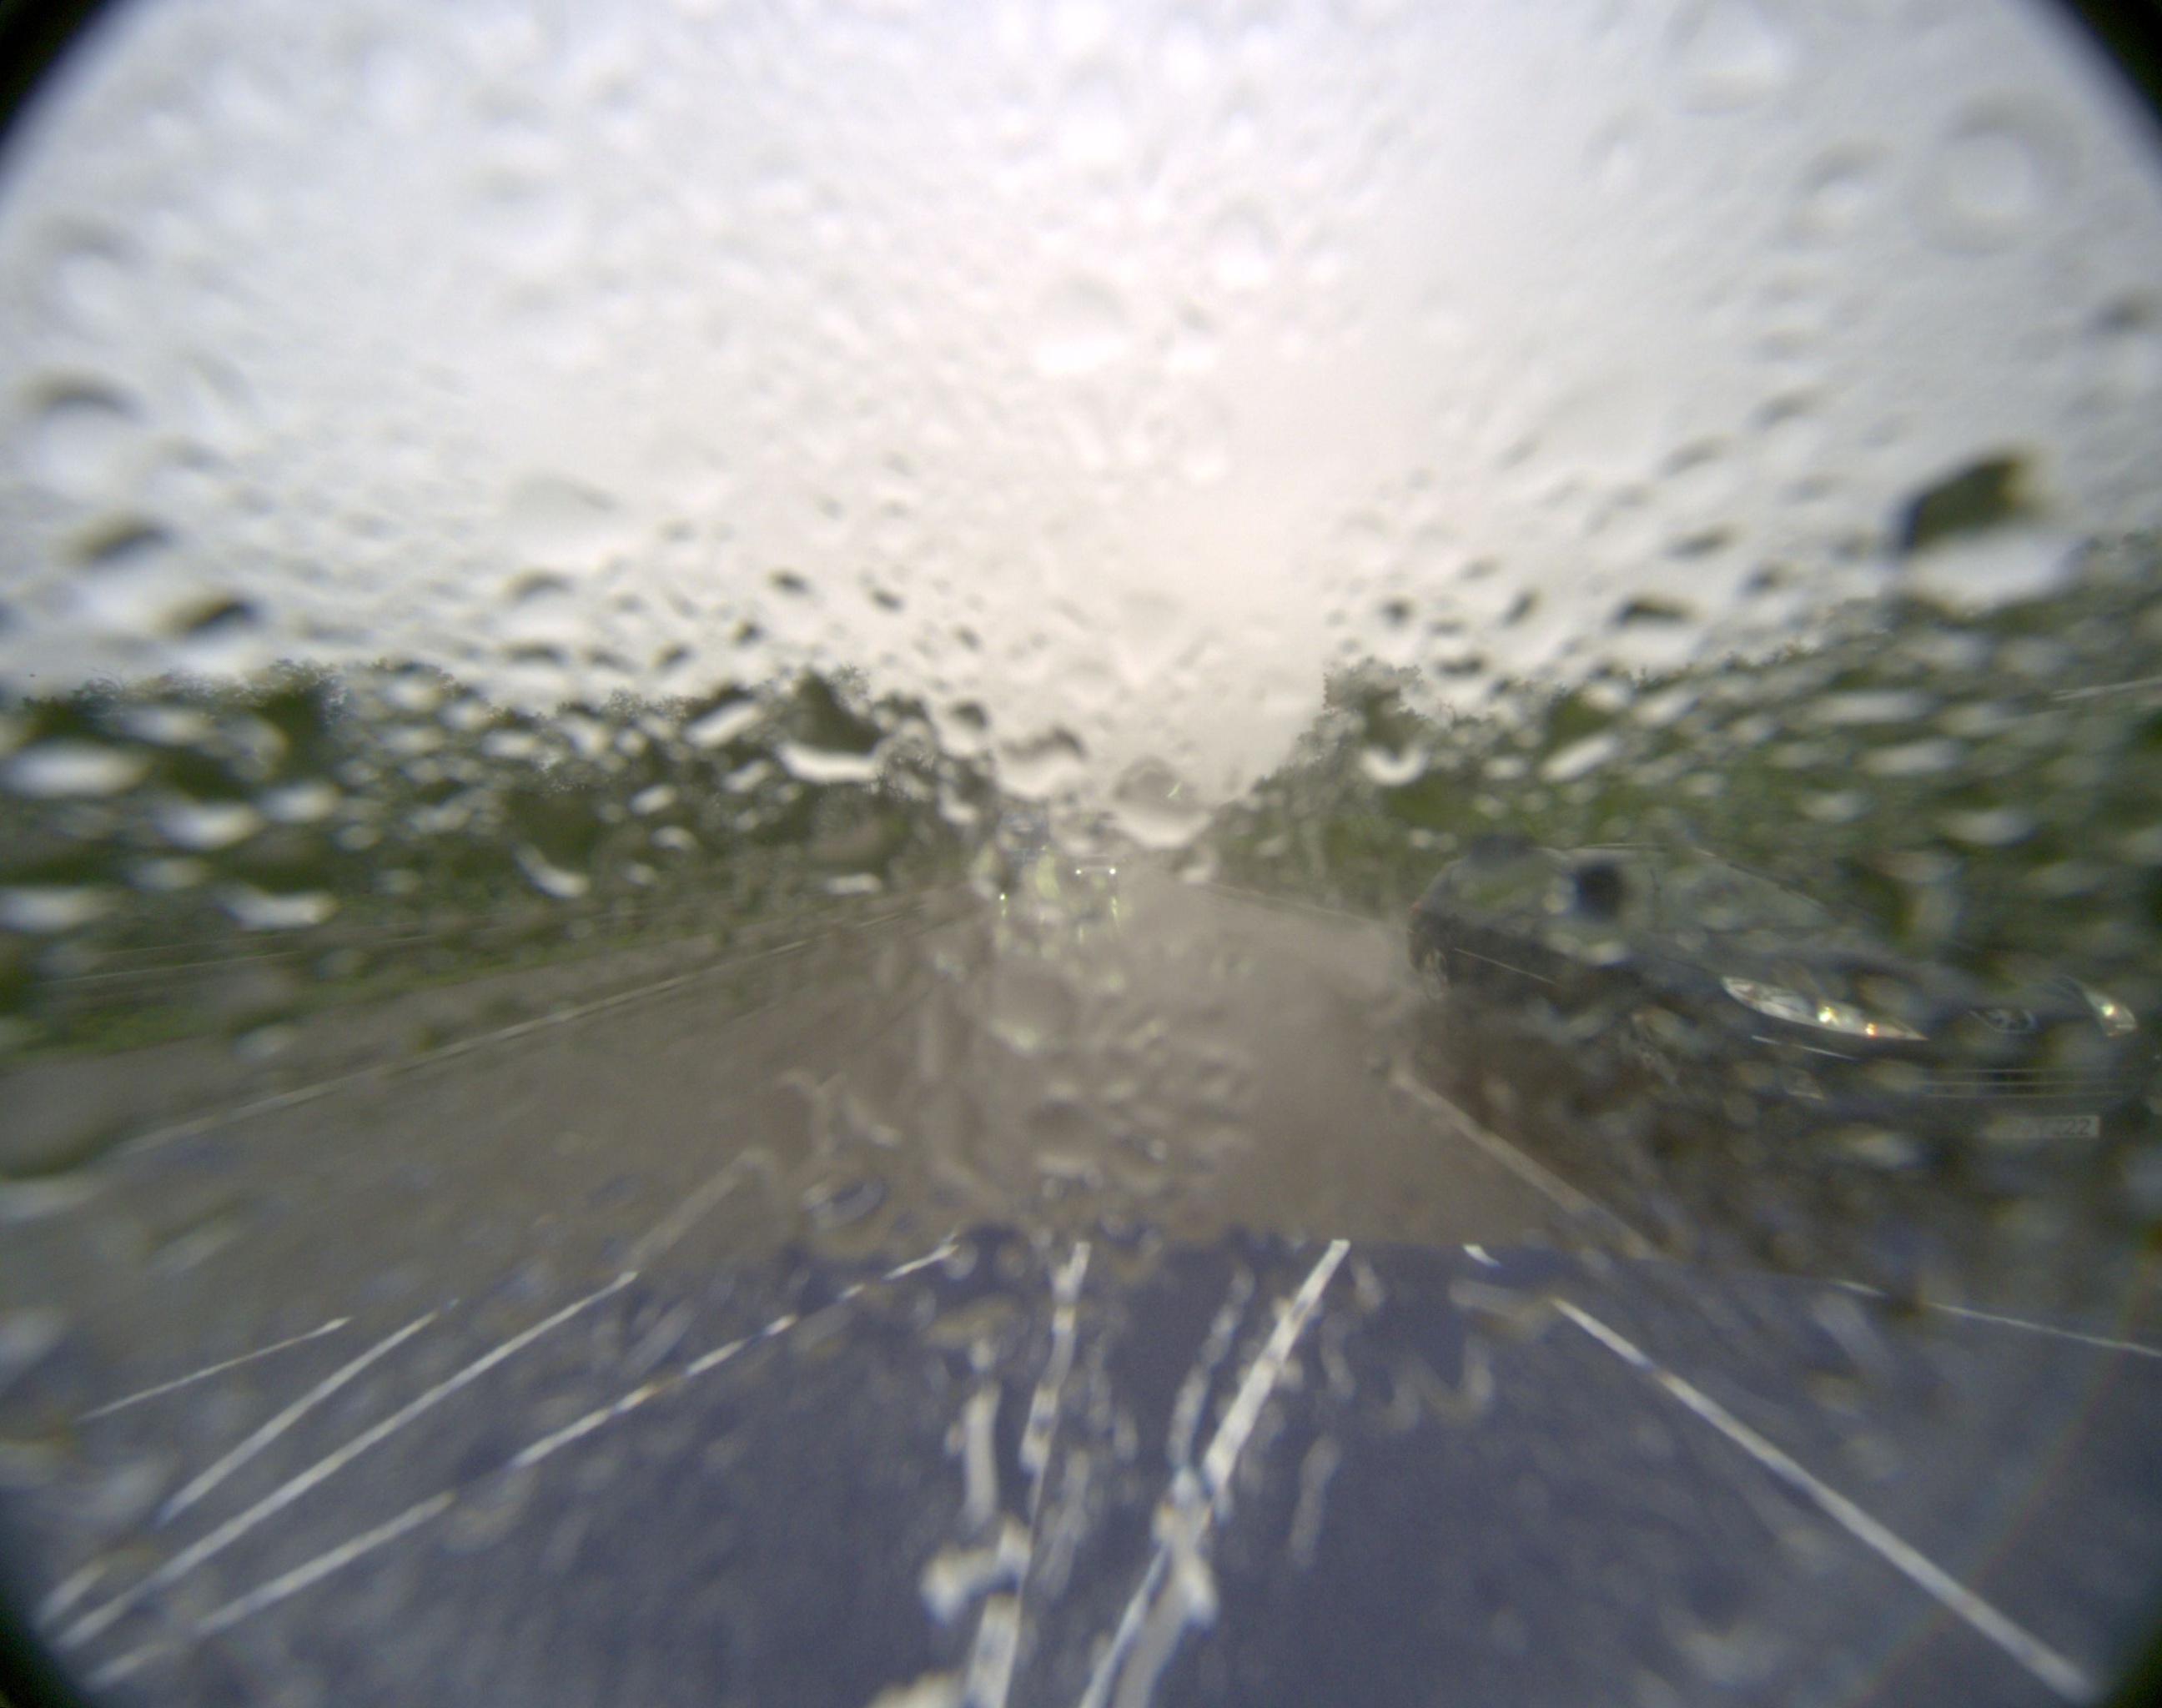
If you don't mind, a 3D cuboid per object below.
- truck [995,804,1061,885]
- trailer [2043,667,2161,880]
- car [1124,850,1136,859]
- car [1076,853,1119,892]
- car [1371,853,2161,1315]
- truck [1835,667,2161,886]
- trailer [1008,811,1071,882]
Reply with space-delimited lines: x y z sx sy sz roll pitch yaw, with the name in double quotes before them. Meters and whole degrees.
"truck" -2.786 -0.493 42.011 2.755 4.055 6.483 -2 1 3
"trailer" 21.205 -1.466 8.855 3.206 3.855 13.255 -2 1 0
"car" 8.533 0.065 133.112 1.900 1.533 4.090 -2 0 2
"car" 0.780 0.776 33.785 1.751 1.545 4.090 -2 0 3
"car" 4.007 0.791 5.189 2.059 1.477 5.157 -2 1 0
"truck" 21.232 -1.481 16.484 3.158 3.969 6.624 -2 1 1
"trailer" -2.449 -0.488 50.204 2.750 3.941 14.130 -2 0 2
